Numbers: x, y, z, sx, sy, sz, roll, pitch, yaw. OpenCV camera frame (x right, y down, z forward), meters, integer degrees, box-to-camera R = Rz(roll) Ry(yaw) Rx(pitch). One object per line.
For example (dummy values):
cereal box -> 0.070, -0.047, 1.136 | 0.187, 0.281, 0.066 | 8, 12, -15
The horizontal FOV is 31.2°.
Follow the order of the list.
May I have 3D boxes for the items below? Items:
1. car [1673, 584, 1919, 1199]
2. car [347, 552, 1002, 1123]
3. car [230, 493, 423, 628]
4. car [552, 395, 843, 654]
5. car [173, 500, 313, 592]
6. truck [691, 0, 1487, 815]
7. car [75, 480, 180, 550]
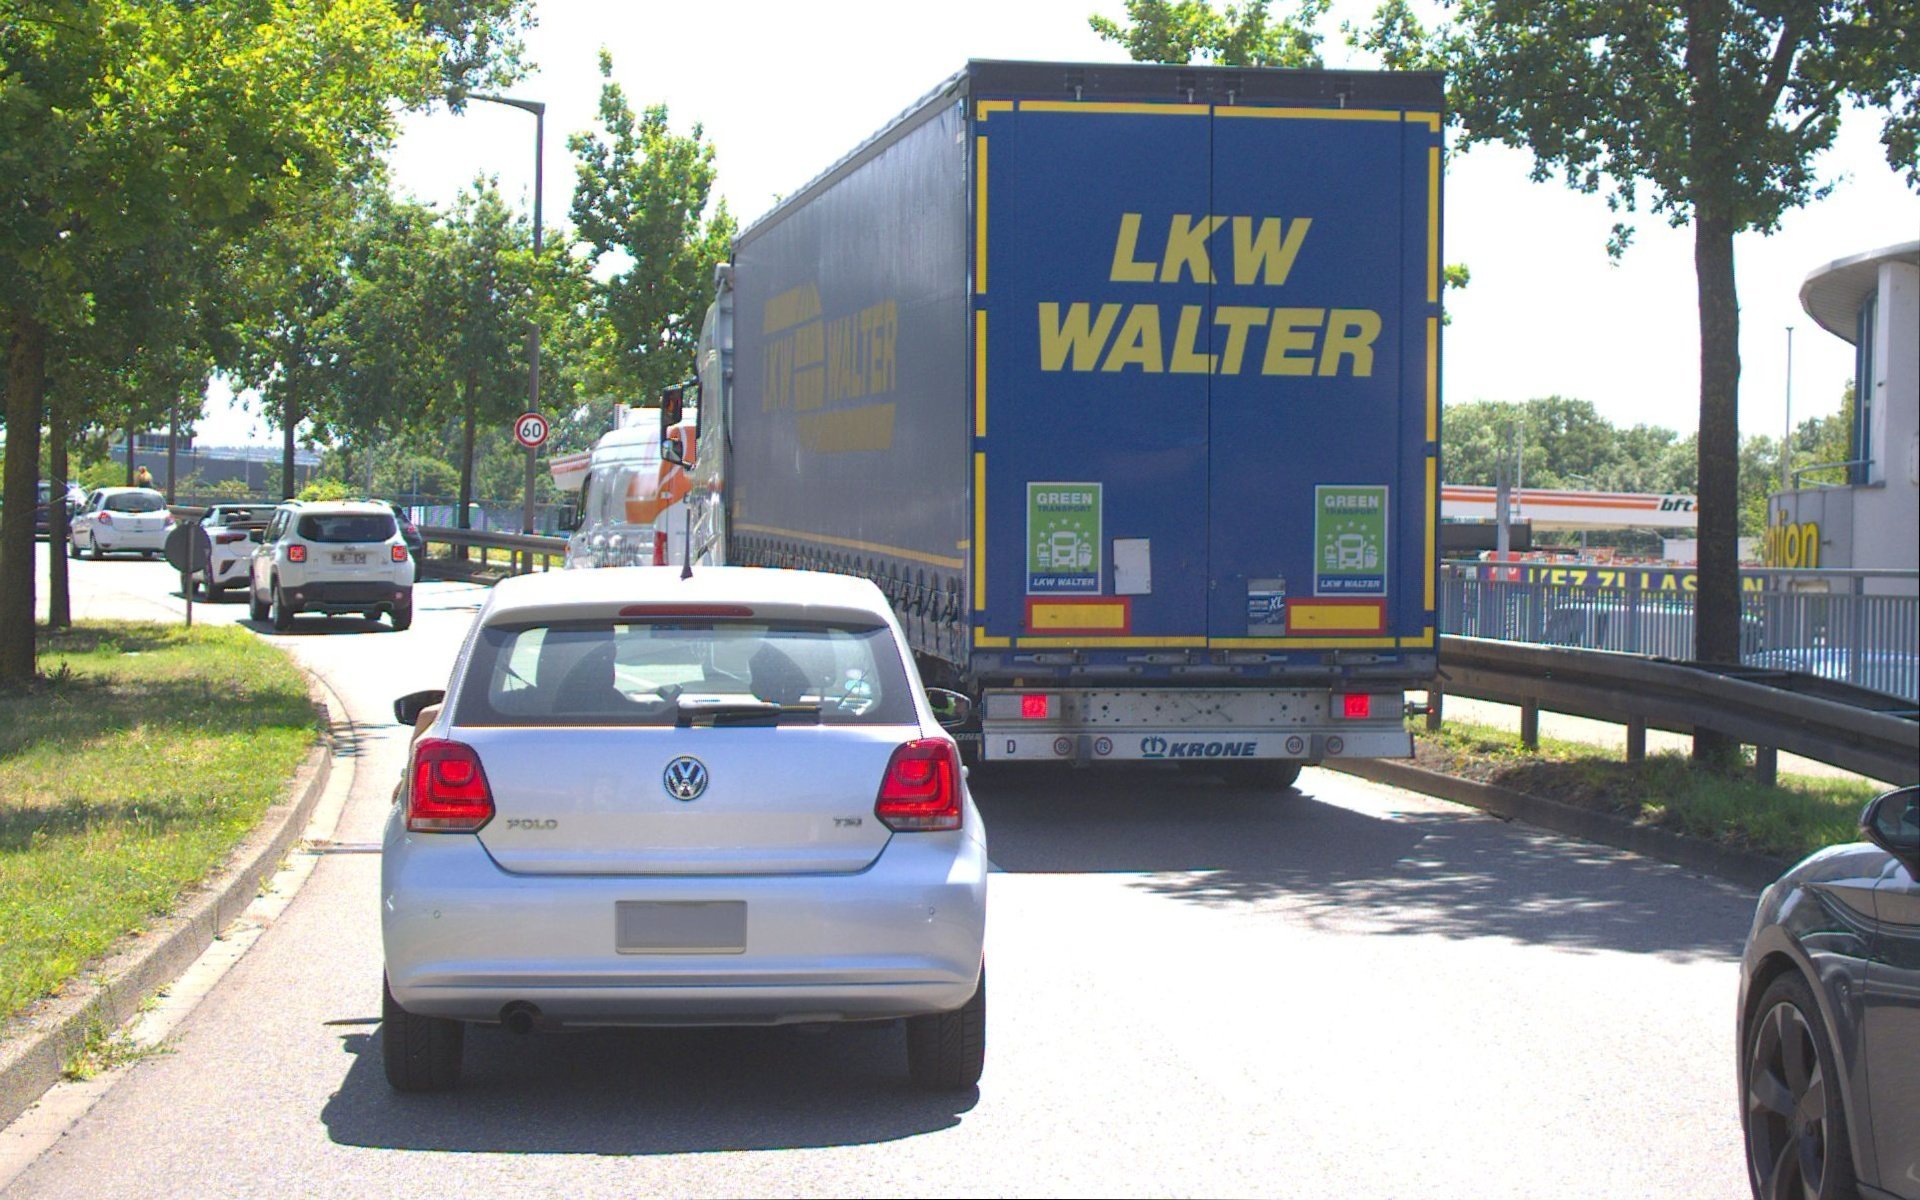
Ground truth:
car -> 2.631, 0.725, 5.657 | 1.604, 1.451, 4.236 | 1, 0, -6
car -> -0.811, 0.593, 10.545 | 1.646, 1.434, 3.537 | 1, 0, -3
car -> -8.584, -0.533, 46.356 | 1.903, 1.712, 4.225 | 1, 0, -19
car -> -3.328, -0.978, 42.054 | 2.175, 2.890, 6.361 | 1, 2, -17
car -> -11.261, -0.869, 53.869 | 1.494, 1.355, 3.664 | 1, 1, -22
truck -> 0.055, -1.174, 25.986 | 2.832, 4.184, 16.479 | 1, 1, -9
car -> -17.161, -1.757, 70.775 | 1.607, 1.355, 3.664 | 1, 1, -21
